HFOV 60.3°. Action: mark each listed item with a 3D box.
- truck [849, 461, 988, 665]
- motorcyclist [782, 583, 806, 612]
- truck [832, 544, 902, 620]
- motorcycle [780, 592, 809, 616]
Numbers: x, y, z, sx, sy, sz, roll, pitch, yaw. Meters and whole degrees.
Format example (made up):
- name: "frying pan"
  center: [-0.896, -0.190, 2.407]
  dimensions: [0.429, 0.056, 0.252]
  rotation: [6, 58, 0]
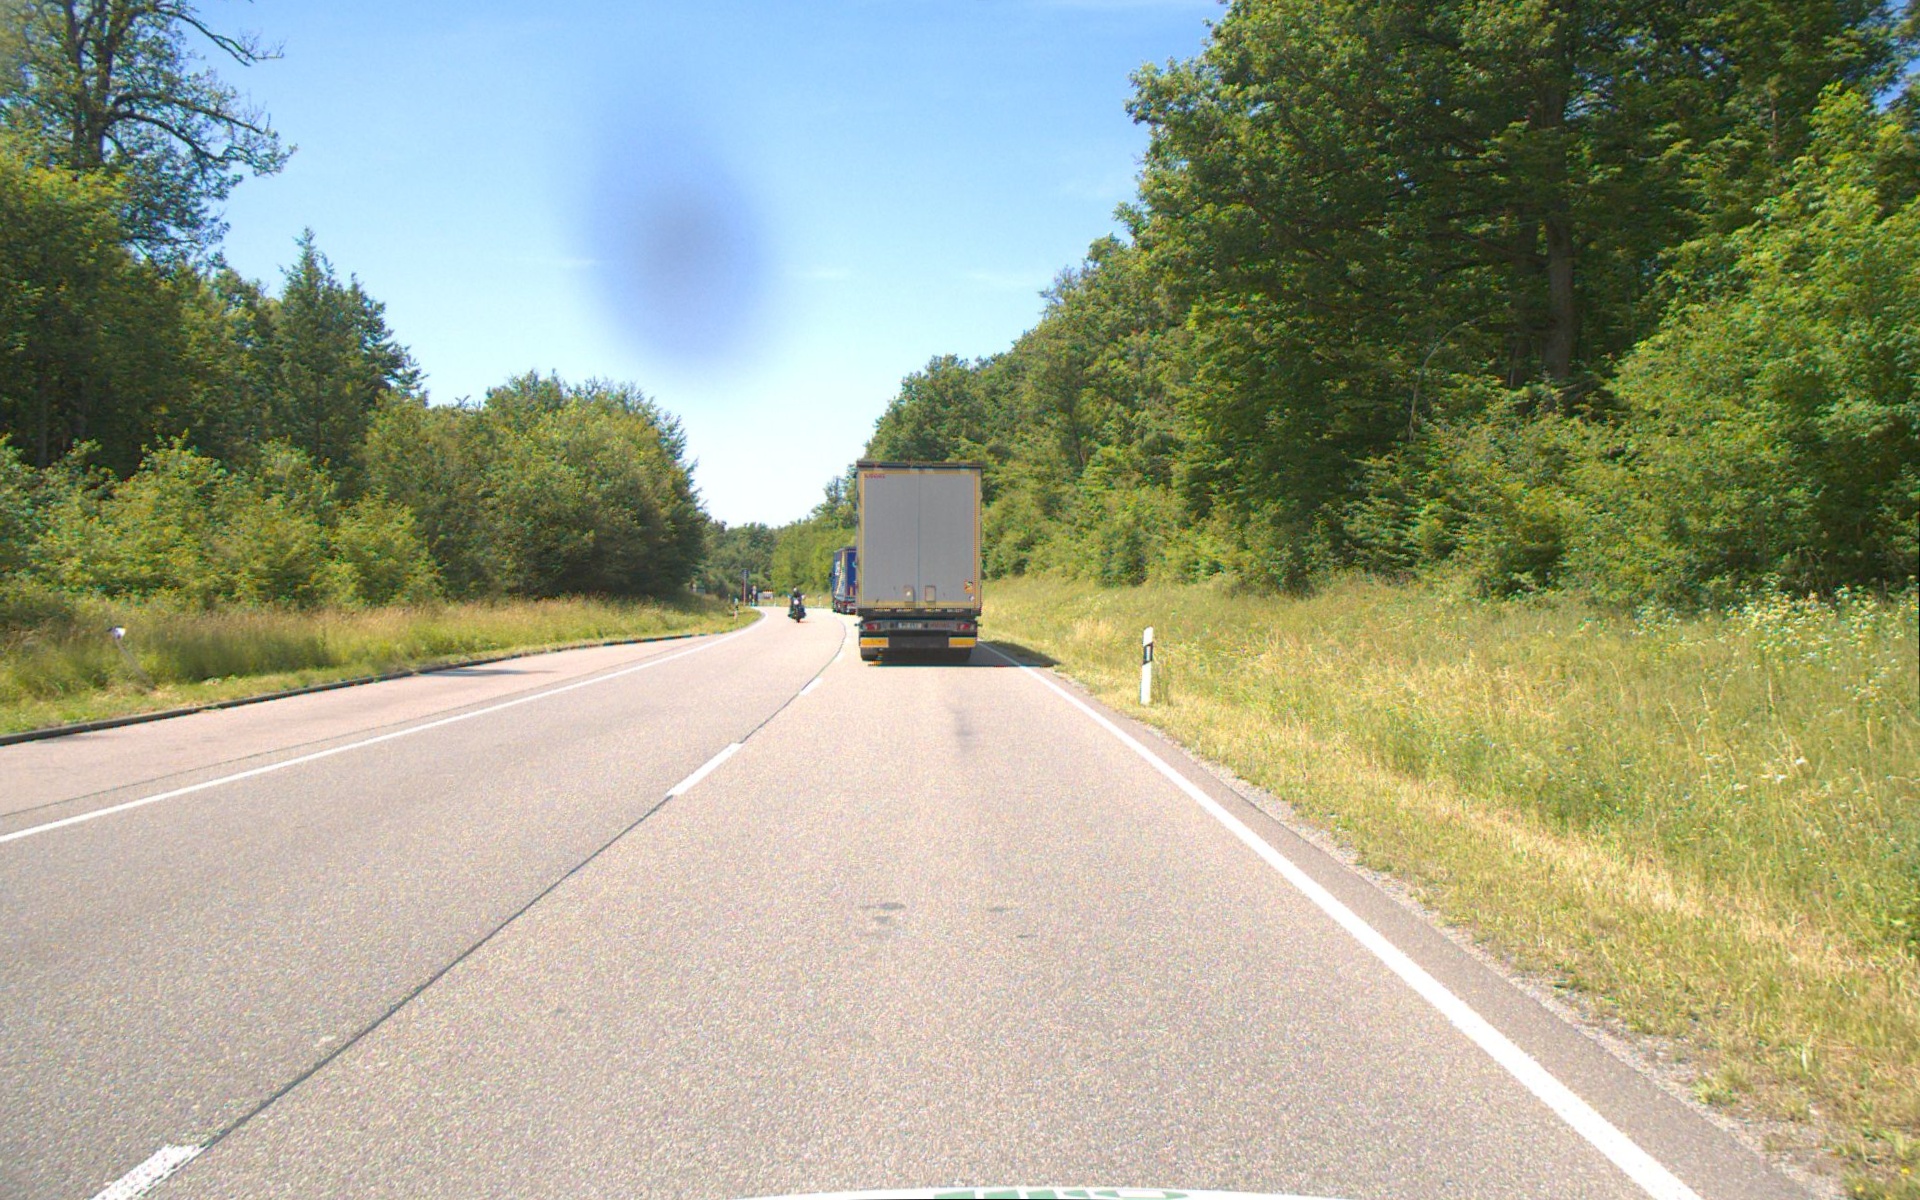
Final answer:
- name: "truck"
  center: [-0.940, -0.750, 38.750]
  dimensions: [2.705, 4.016, 12.194]
  rotation: [0, 0, -1]
- name: "motorcyclist"
  center: [-7.716, -0.128, 77.082]
  dimensions: [0.989, 1.350, 0.966]
  rotation: [0, 0, 1]
- name: "truck"
  center: [-6.103, -1.110, 106.226]
  dimensions: [3.720, 4.449, 14.901]
  rotation: [1, 0, -6]
- name: "motorcycle"
  center: [-7.723, 0.182, 77.239]
  dimensions: [0.993, 1.081, 2.773]
  rotation: [0, 0, 1]
